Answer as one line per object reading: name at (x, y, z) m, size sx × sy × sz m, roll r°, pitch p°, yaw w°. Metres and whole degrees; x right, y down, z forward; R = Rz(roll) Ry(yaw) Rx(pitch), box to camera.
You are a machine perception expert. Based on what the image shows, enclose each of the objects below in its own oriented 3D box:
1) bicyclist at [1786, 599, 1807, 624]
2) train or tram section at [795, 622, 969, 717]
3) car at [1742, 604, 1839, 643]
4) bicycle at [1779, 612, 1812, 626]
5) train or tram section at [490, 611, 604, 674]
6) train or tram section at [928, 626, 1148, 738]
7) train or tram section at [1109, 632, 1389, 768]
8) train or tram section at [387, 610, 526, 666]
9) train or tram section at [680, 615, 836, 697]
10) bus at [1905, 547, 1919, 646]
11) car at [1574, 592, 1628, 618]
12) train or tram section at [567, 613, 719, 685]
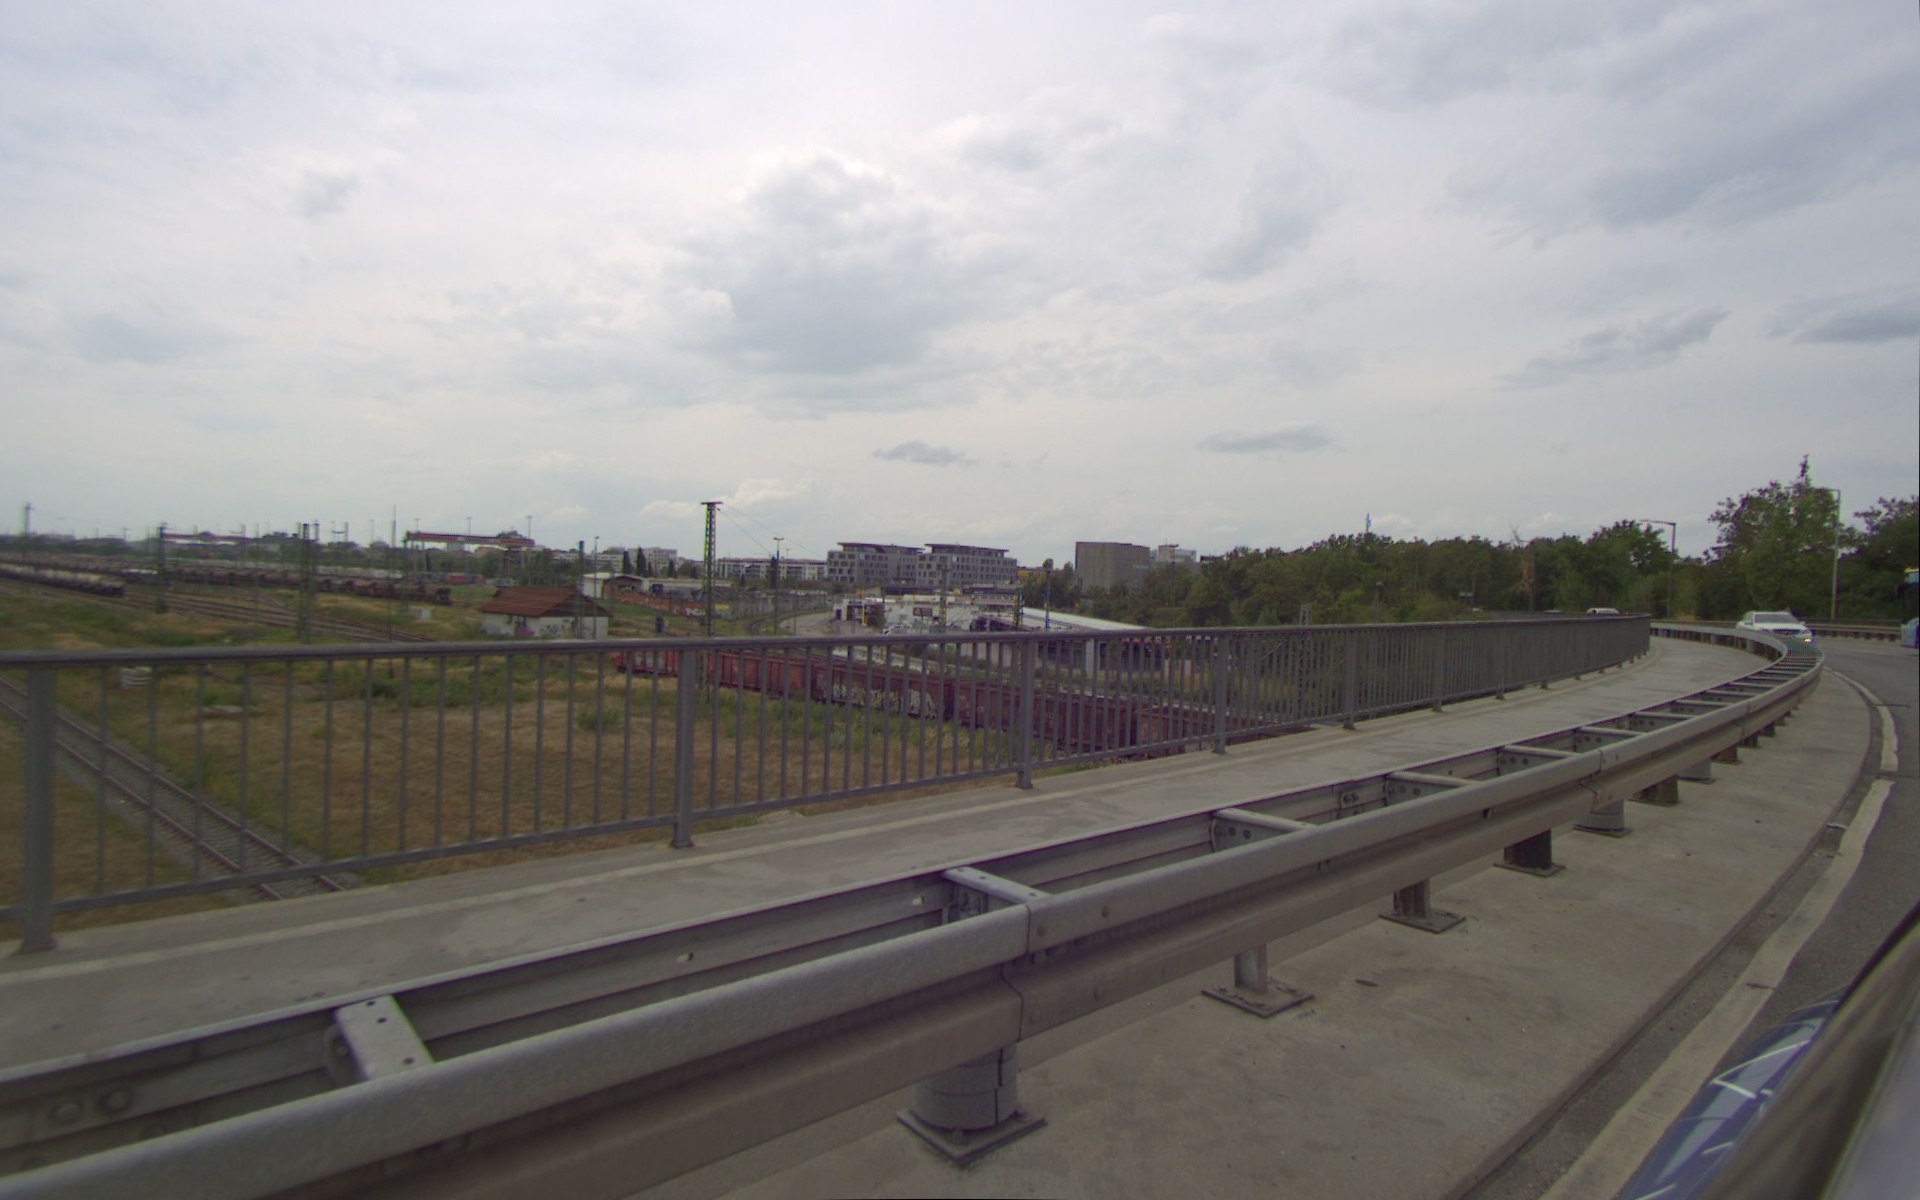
bicyclist at (50.618, 0.699, 61.234) m, size 0.702 × 1.463 × 0.745 m, roll 0°, pitch -1°, yaw 12°
train or tram section at (-5.712, 4.540, 70.648) m, size 13.859 × 5.750 × 3.784 m, roll 0°, pitch 0°, yaw 43°
car at (33.283, 0.907, 40.674) m, size 1.916 × 1.475 × 3.856 m, roll 0°, pitch 0°, yaw 22°
bicycle at (50.664, 1.150, 61.386) m, size 0.683 × 0.808 × 1.886 m, roll 0°, pitch -1°, yaw 12°
train or tram section at (-41.803, 4.078, 101.870) m, size 15.487 × 5.695 × 3.750 m, roll 0°, pitch 0°, yaw 39°
train or tram section at (4.320, 4.585, 60.929) m, size 14.212 × 5.670 × 3.601 m, roll 0°, pitch 0°, yaw 44°
train or tram section at (14.094, 4.630, 51.066) m, size 13.610 × 5.645 × 3.594 m, roll 0°, pitch 0°, yaw 45°
train or tram section at (-57.587, 4.015, 114.808) m, size 25.561 × 5.549 × 3.937 m, roll 0°, pitch 0°, yaw 39°
train or tram section at (-16.275, 4.169, 80.373) m, size 14.951 × 5.748 × 3.918 m, roll 0°, pitch 0°, yaw 41°
bus at (30.521, -0.111, 28.901) m, size 3.020 × 3.274 × 12.794 m, roll 0°, pitch 0°, yaw 33°
car at (45.197, 0.399, 71.486) m, size 1.935 × 1.727 × 4.410 m, roll 0°, pitch -1°, yaw 15°
train or tram section at (-28.892, 4.145, 91.152) m, size 18.188 × 5.714 × 3.903 m, roll 0°, pitch 0°, yaw 40°
